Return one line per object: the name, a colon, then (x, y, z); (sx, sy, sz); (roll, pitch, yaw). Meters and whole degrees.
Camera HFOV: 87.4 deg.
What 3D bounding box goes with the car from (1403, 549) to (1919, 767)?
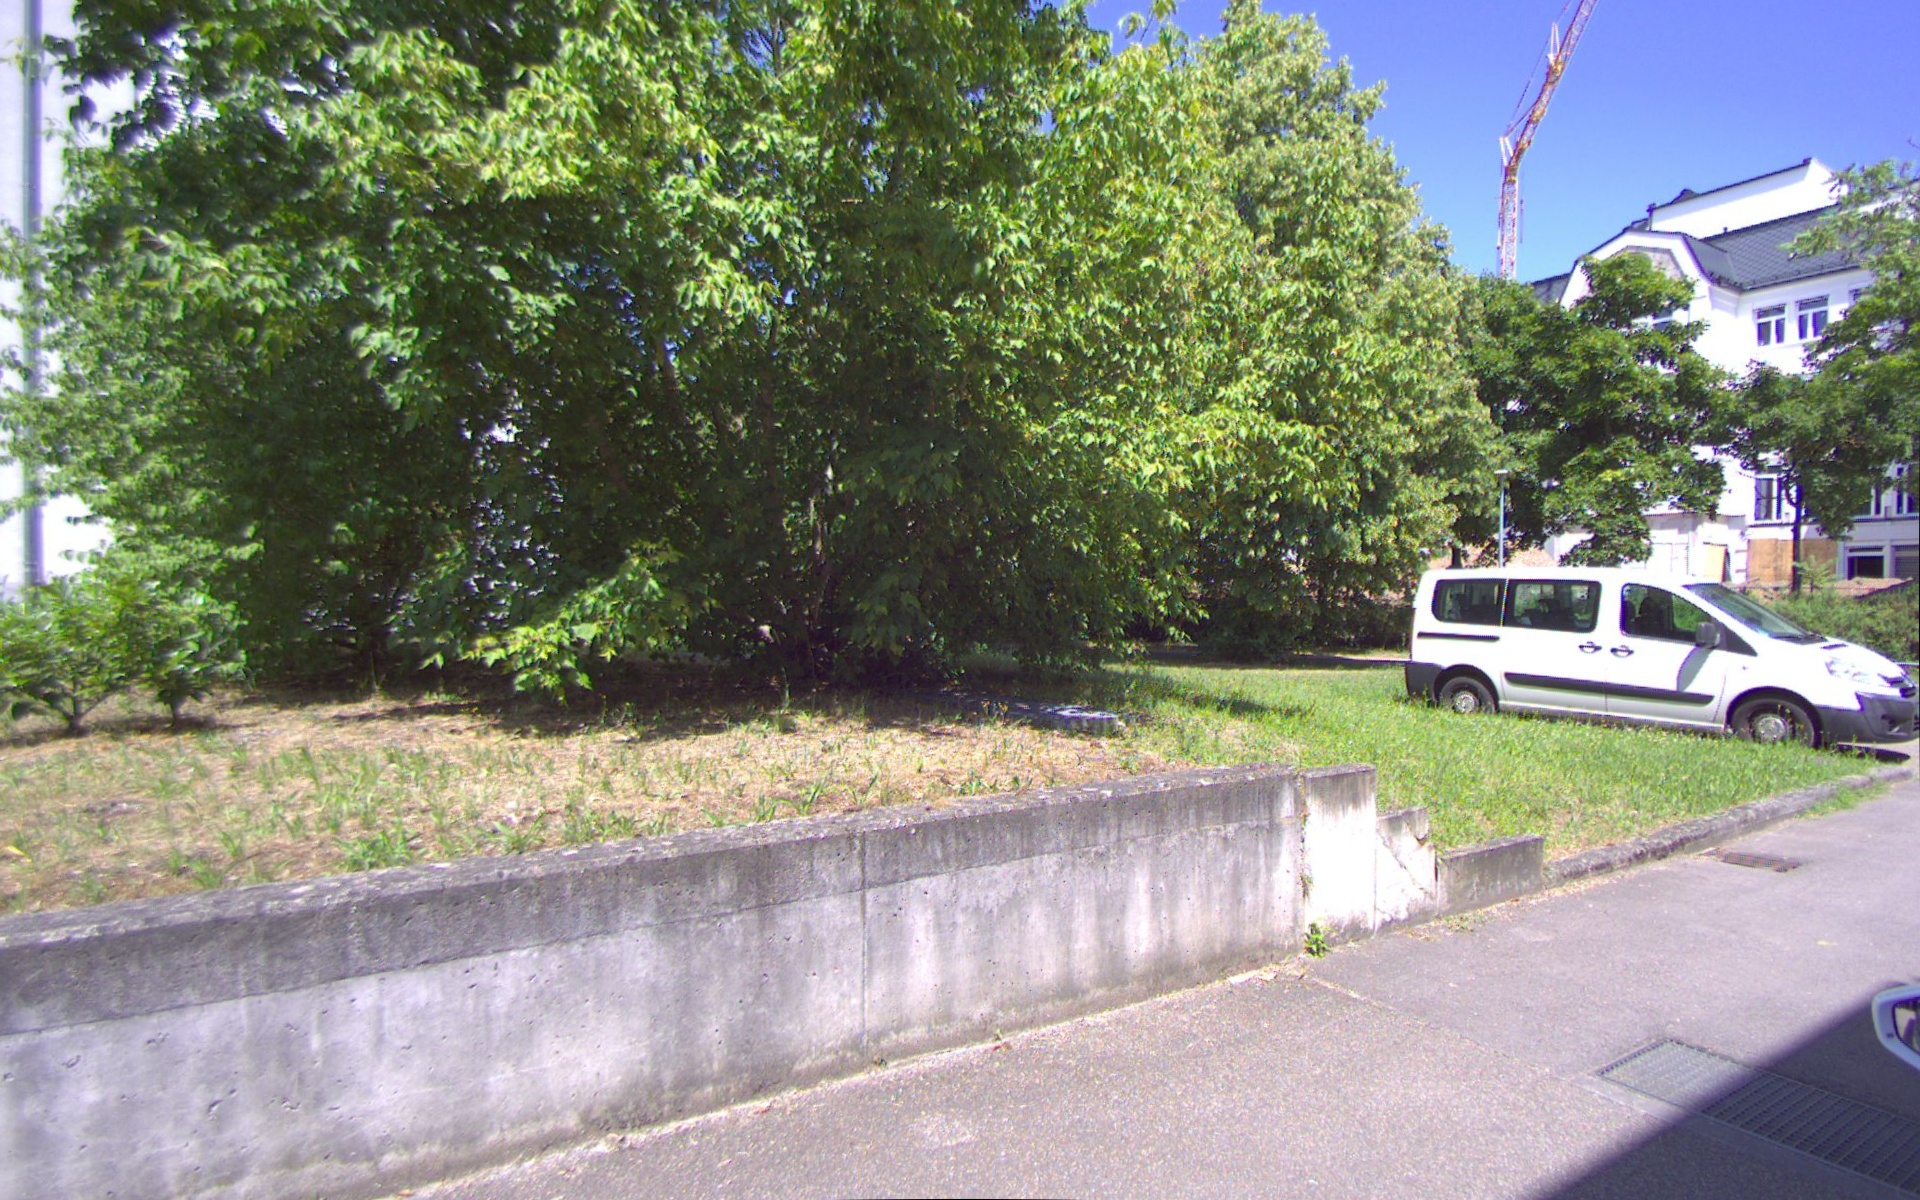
car: (7.829, 0.560, 11.440); (1.982, 1.936, 4.753); (2, -1, -37)
